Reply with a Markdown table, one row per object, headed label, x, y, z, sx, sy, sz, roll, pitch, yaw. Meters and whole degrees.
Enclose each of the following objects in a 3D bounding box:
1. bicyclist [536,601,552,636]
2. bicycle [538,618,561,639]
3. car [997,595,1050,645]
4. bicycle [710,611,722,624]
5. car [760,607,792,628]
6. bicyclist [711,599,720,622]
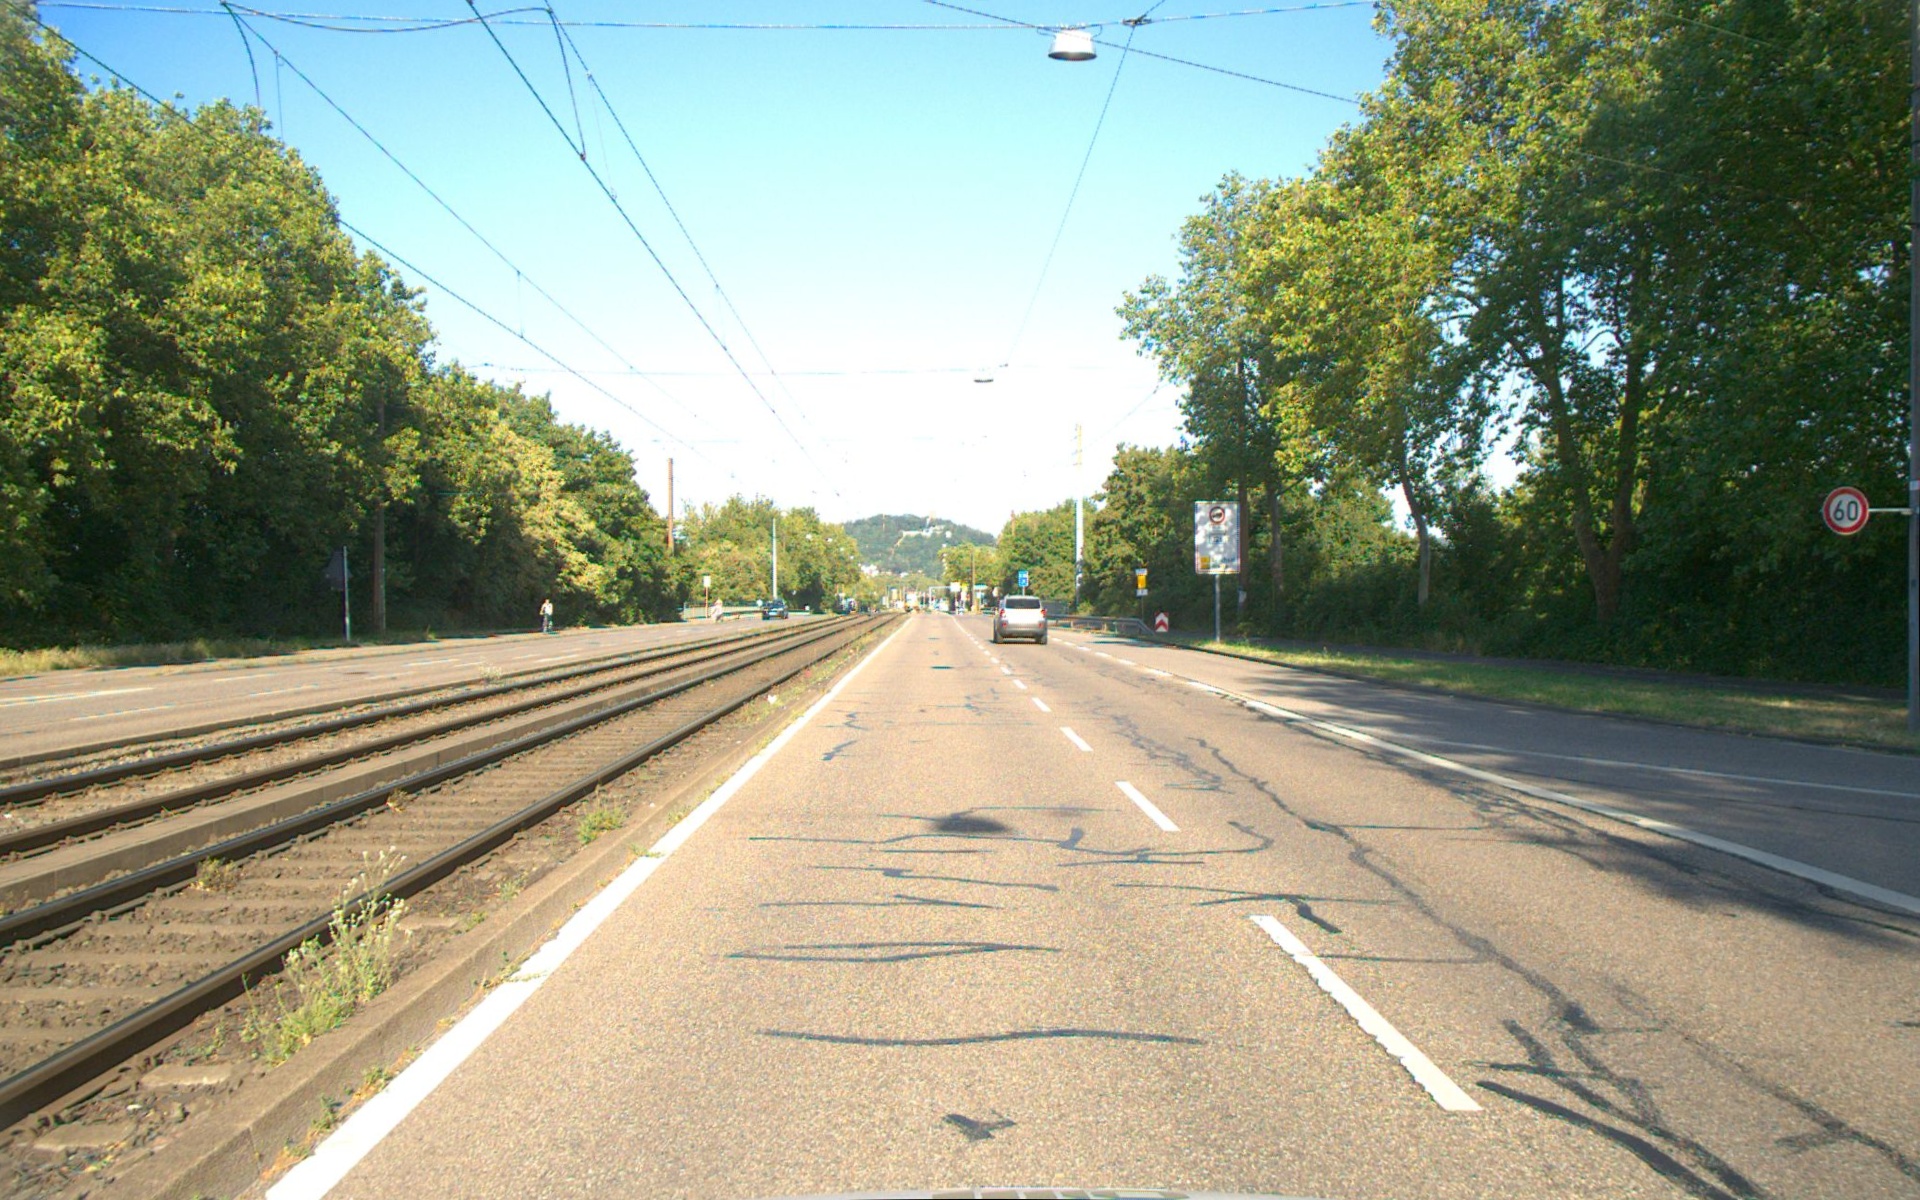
| label | x | y | z | sx | sy | sz | roll | pitch | yaw |
| --- | --- | --- | --- | --- | --- | --- | --- | --- | --- |
| bicyclist | -20.605 | 0.908 | 81.917 | 0.539 | 1.720 | 0.820 | 1 | -1 | 3 |
| bicycle | -20.381 | 1.427 | 82.106 | 0.539 | 1.003 | 2.239 | 1 | 0 | 0 |
| car | 2.256 | 0.715 | 59.838 | 1.849 | 1.723 | 4.257 | 0 | 0 | 1 |
| bicycle | -17.867 | 1.260 | 120.944 | 0.497 | 0.908 | 2.028 | 1 | 0 | 2 |
| car | -15.338 | 1.463 | 137.879 | 1.952 | 1.715 | 4.796 | -2 | -1 | 2 |
| bicyclist | -17.862 | 0.761 | 120.856 | 0.497 | 1.717 | 0.919 | 1 | -1 | 2 |
